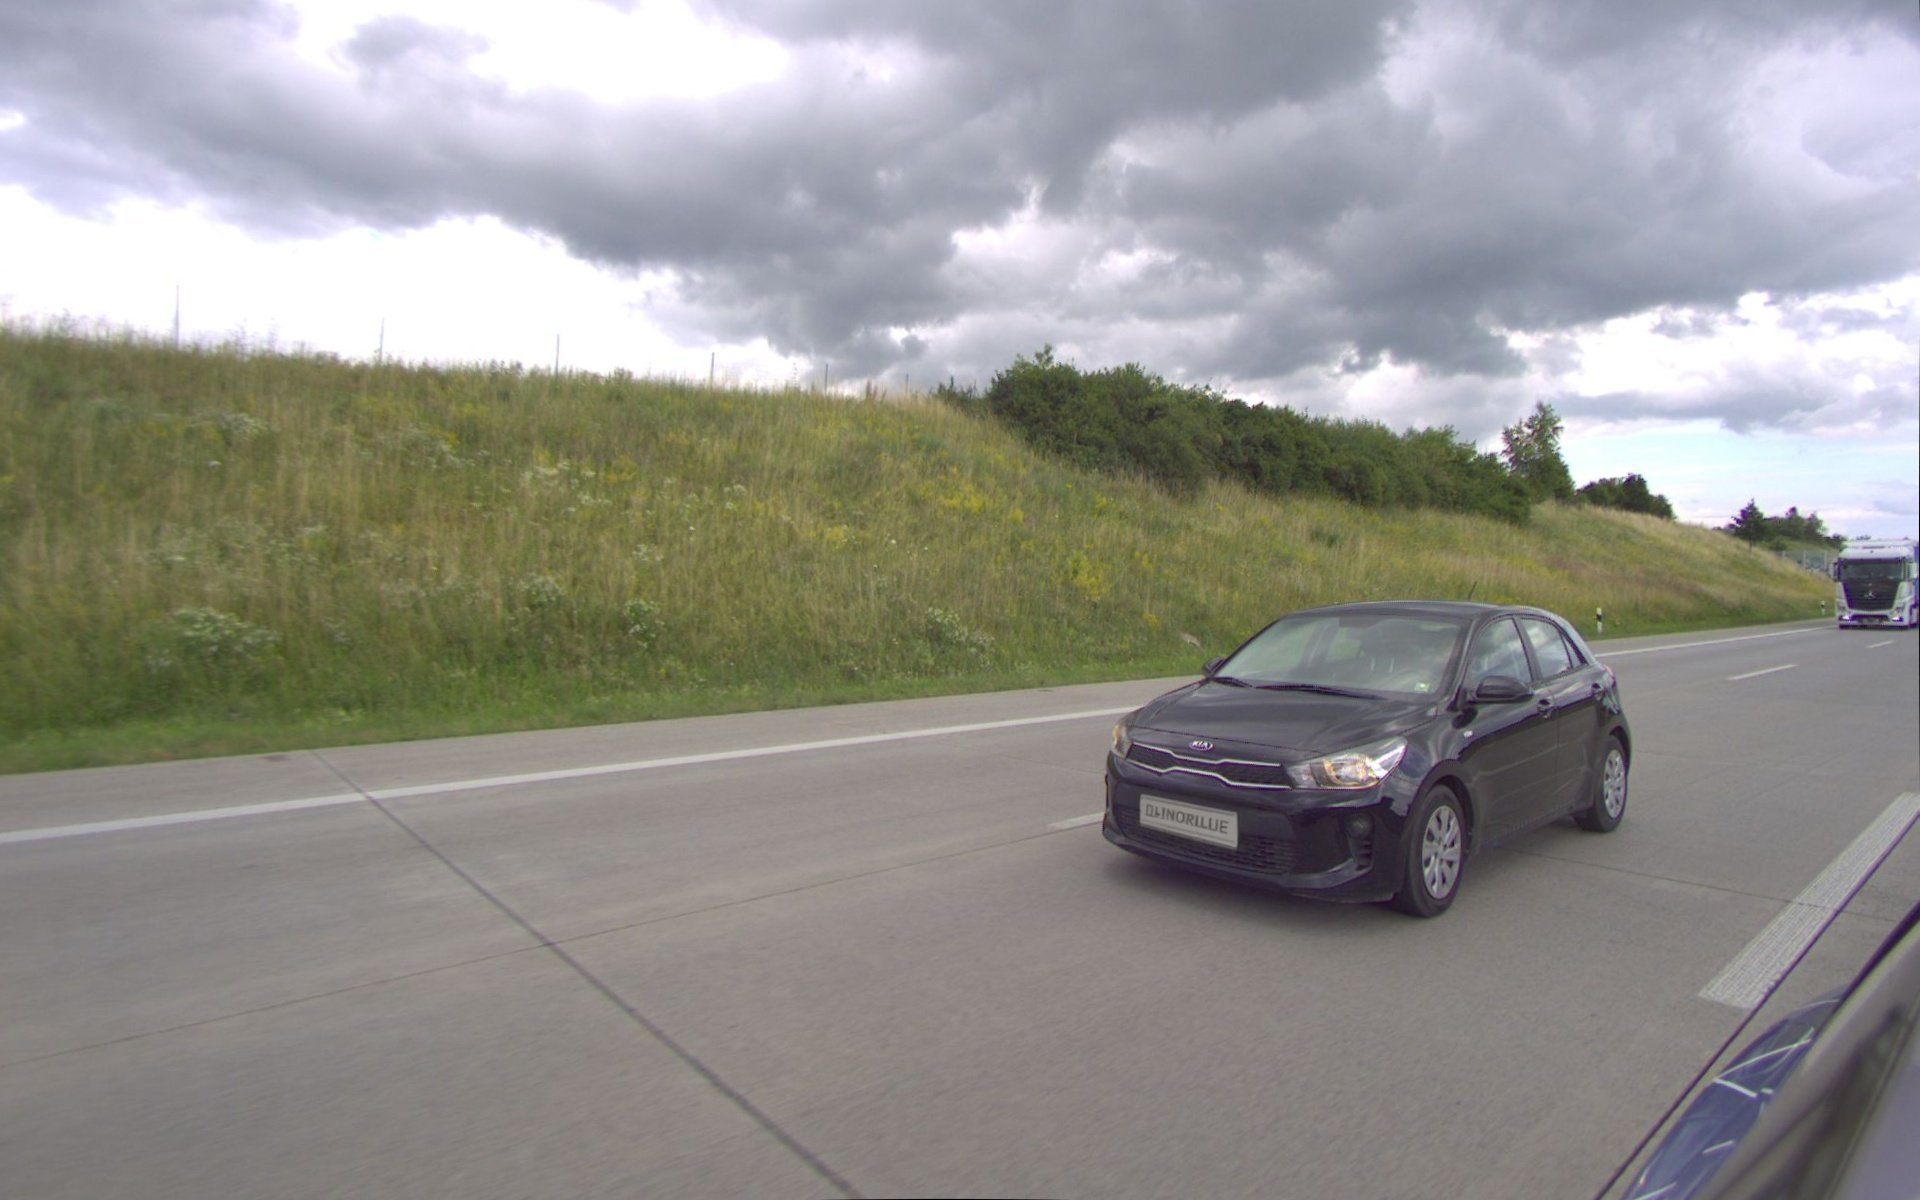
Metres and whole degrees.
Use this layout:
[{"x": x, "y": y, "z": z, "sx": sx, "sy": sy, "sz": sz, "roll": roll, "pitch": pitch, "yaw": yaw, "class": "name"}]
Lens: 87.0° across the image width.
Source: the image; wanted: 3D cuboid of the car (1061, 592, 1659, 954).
[{"x": 2.557, "y": 0.676, "z": 5.981, "sx": 3.930, "sy": 1.431, "sz": 1.689, "roll": 0, "pitch": 1, "yaw": -41, "class": "car"}]

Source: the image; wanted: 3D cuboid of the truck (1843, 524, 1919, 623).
[{"x": 44.271, "y": -1.126, "z": 47.431, "sx": 10.521, "sy": 4.253, "sz": 2.852, "roll": 0, "pitch": 0, "yaw": -41, "class": "truck"}]
